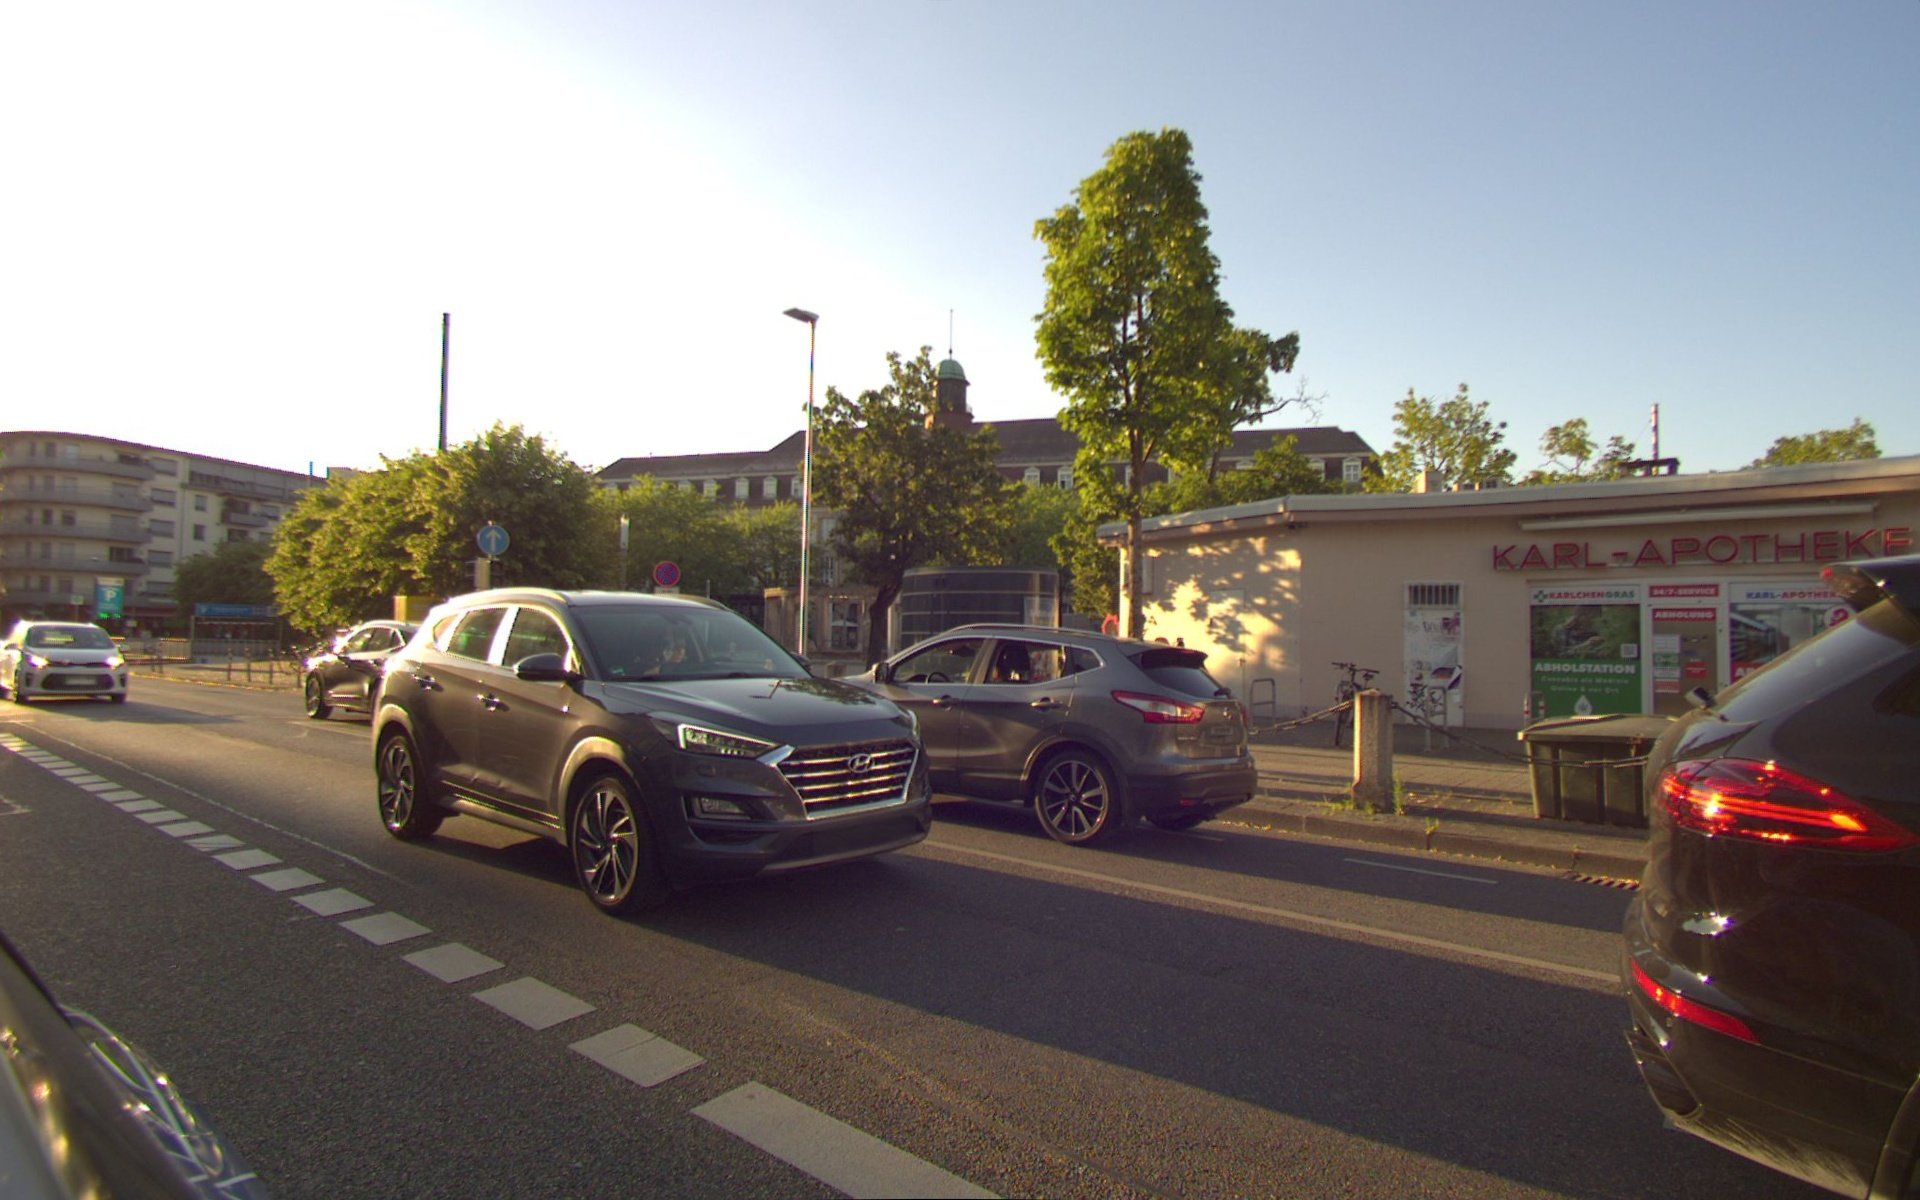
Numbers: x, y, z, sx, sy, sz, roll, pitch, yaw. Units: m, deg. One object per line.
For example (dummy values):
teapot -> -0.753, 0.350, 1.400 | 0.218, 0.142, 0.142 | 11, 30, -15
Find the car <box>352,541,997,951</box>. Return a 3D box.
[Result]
car -> -1.993, 0.694, 6.326 | 4.256, 1.711, 1.804 | -2, -4, 41

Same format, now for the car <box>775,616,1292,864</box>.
car -> 0.491, 1.019, 8.523 | 3.996, 1.593, 1.805 | -1, -7, 39

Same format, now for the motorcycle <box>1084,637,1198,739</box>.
motorcycle -> 2.853, 1.333, 15.750 | 0.700, 1.457, 2.369 | -2, -4, 39

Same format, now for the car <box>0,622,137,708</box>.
car -> -17.313, 1.202, 19.382 | 3.982, 1.483, 1.696 | -2, -4, 41

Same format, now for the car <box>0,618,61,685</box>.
car -> -26.834, 1.430, 28.400 | 3.982, 1.754, 1.804 | -2, -5, 41

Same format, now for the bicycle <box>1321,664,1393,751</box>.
bicycle -> 5.496, 1.453, 13.973 | 0.395, 1.111, 1.788 | -2, -4, 39

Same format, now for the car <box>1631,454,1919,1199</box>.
car -> 3.706, 0.580, 1.285 | 4.566, 1.711, 1.782 | -2, -3, 41

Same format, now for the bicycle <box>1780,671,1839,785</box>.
bicycle -> 9.277, 1.349, 11.050 | 0.448, 1.122, 1.846 | -1, -4, 40

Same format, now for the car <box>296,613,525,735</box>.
car -> -8.857, 1.165, 16.201 | 3.982, 1.711, 1.804 | -2, -6, 41
